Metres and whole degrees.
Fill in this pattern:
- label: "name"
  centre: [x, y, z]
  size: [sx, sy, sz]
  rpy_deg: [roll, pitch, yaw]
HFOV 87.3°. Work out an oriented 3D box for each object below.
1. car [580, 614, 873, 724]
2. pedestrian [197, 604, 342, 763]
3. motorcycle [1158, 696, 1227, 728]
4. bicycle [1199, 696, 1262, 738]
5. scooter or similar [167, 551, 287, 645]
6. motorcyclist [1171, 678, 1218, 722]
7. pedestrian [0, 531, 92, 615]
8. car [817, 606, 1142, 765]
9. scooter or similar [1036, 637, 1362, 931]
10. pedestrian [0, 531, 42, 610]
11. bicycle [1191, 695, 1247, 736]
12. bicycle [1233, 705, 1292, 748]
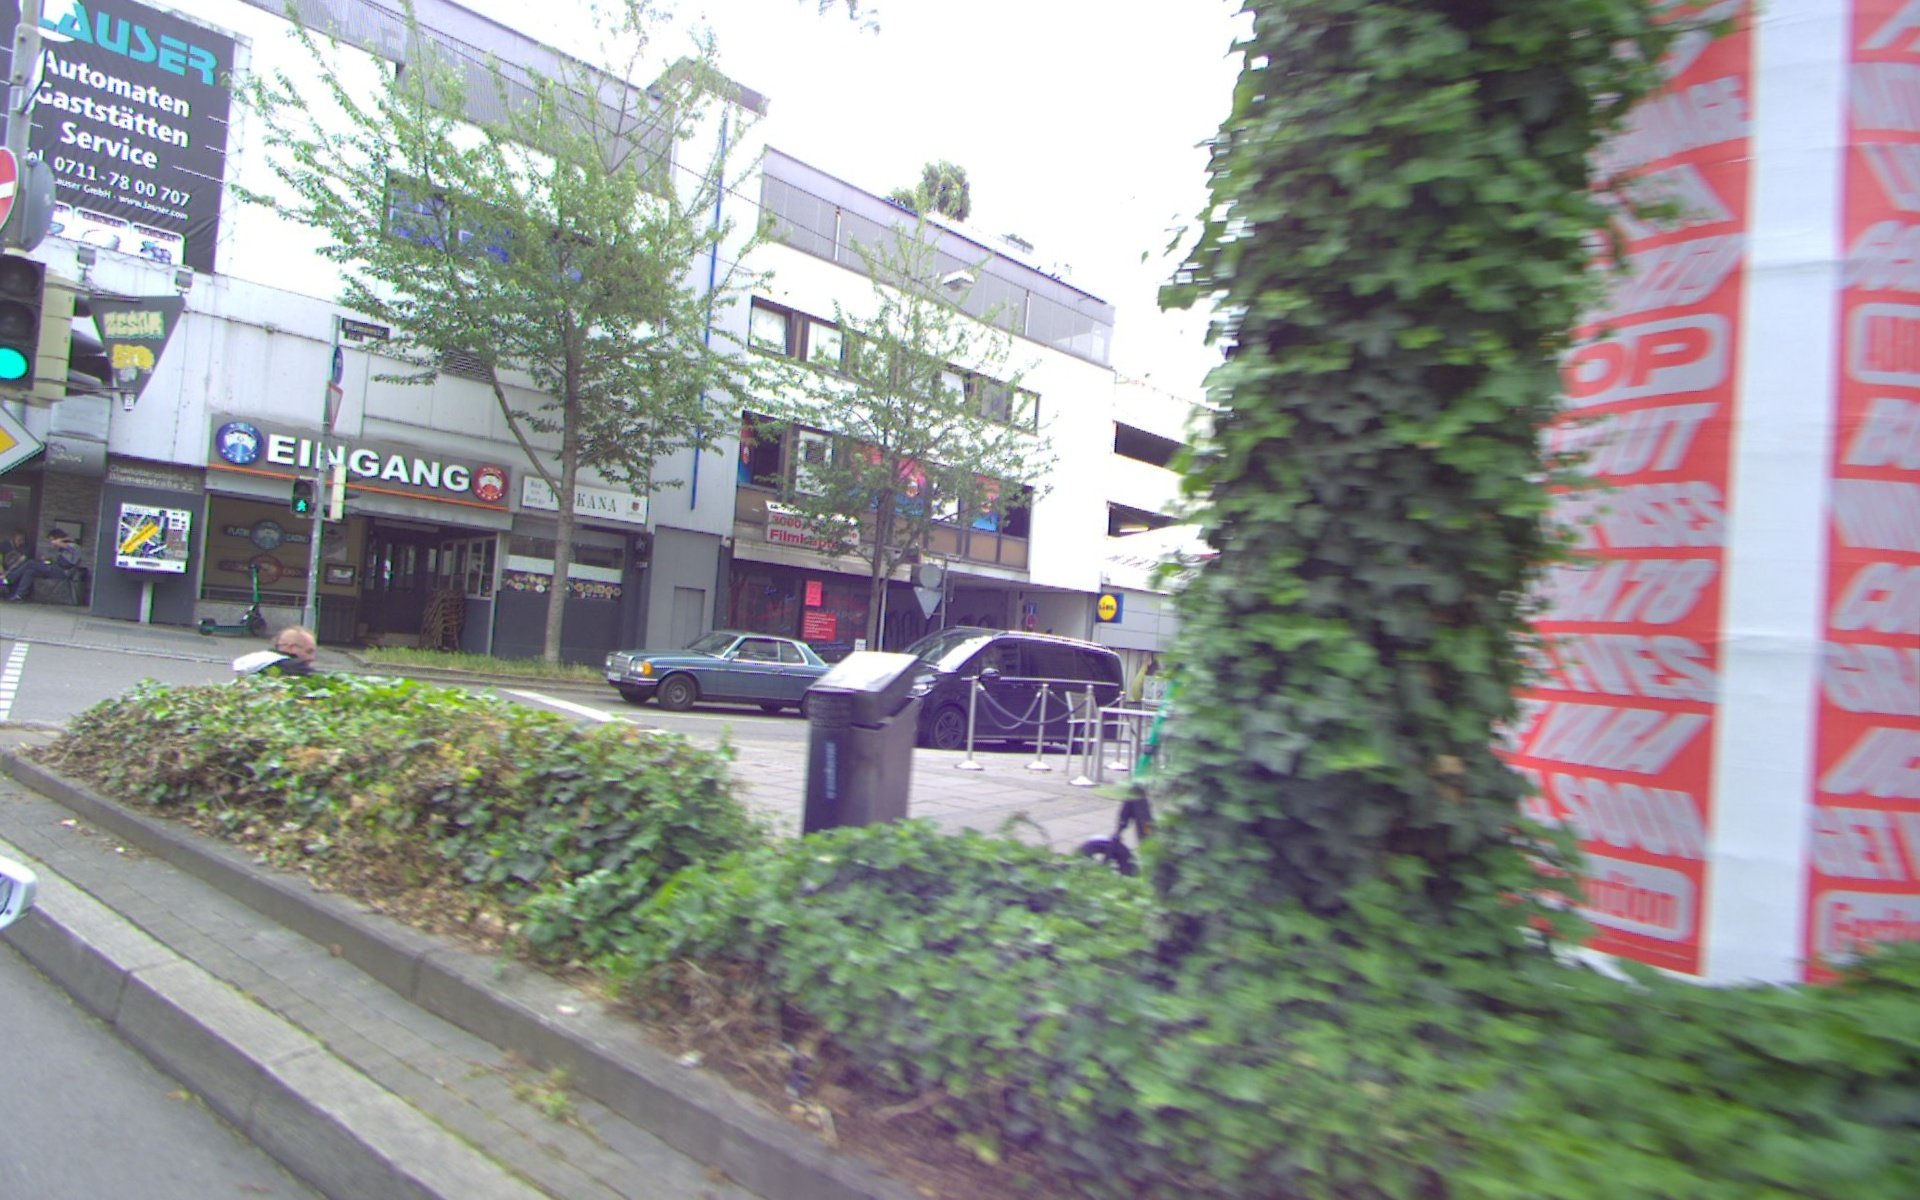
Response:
- label: "car"
  centre: [-3.885, 1.232, 17.334]
  size: [4.566, 1.372, 1.741]
  rpy_deg: [10, -5, -43]
- label: "pedestrian"
  centre: [-4.347, 0.524, 6.338]
  size: [0.574, 0.920, 0.484]
  rpy_deg: [4, -3, 35]
- label: "motorcycle"
  centre: [8.148, 3.915, 35.101]
  size: [2.743, 0.820, 0.812]
  rpy_deg: [10, -3, -40]
- label: "bicycle"
  centre: [9.026, 3.891, 33.561]
  size: [0.730, 1.074, 1.814]
  rpy_deg: [9, -2, -42]
- label: "scooter or similar"
  centre: [-12.543, -0.008, 17.265]
  size: [0.586, 1.363, 1.394]
  rpy_deg: [7, -5, 19]
- label: "motorcyclist"
  centre: [8.186, 3.498, 35.098]
  size: [1.351, 1.325, 0.814]
  rpy_deg: [10, -2, -40]
- label: "pedestrian"
  centre: [-15.230, -0.444, 16.699]
  size: [1.102, 1.201, 0.734]
  rpy_deg: [10, -2, -41]
- label: "car"
  centre: [0.473, 1.457, 16.246]
  size: [5.121, 1.927, 1.978]
  rpy_deg: [11, -5, -41]
- label: "scooter or similar"
  centre: [1.182, 0.891, 4.994]
  size: [1.372, 1.269, 0.628]
  rpy_deg: [6, 0, -23]
- label: "pedestrian"
  centre: [-16.125, -0.522, 17.011]
  size: [0.732, 1.250, 0.709]
  rpy_deg: [9, -2, -42]
- label: "bicycle"
  centre: [8.512, 3.785, 33.108]
  size: [0.556, 1.072, 1.645]
  rpy_deg: [9, -2, -42]
- label: "bicycle"
  centre: [10.601, 4.437, 35.305]
  size: [0.625, 1.222, 1.814]
  rpy_deg: [9, -2, -42]
